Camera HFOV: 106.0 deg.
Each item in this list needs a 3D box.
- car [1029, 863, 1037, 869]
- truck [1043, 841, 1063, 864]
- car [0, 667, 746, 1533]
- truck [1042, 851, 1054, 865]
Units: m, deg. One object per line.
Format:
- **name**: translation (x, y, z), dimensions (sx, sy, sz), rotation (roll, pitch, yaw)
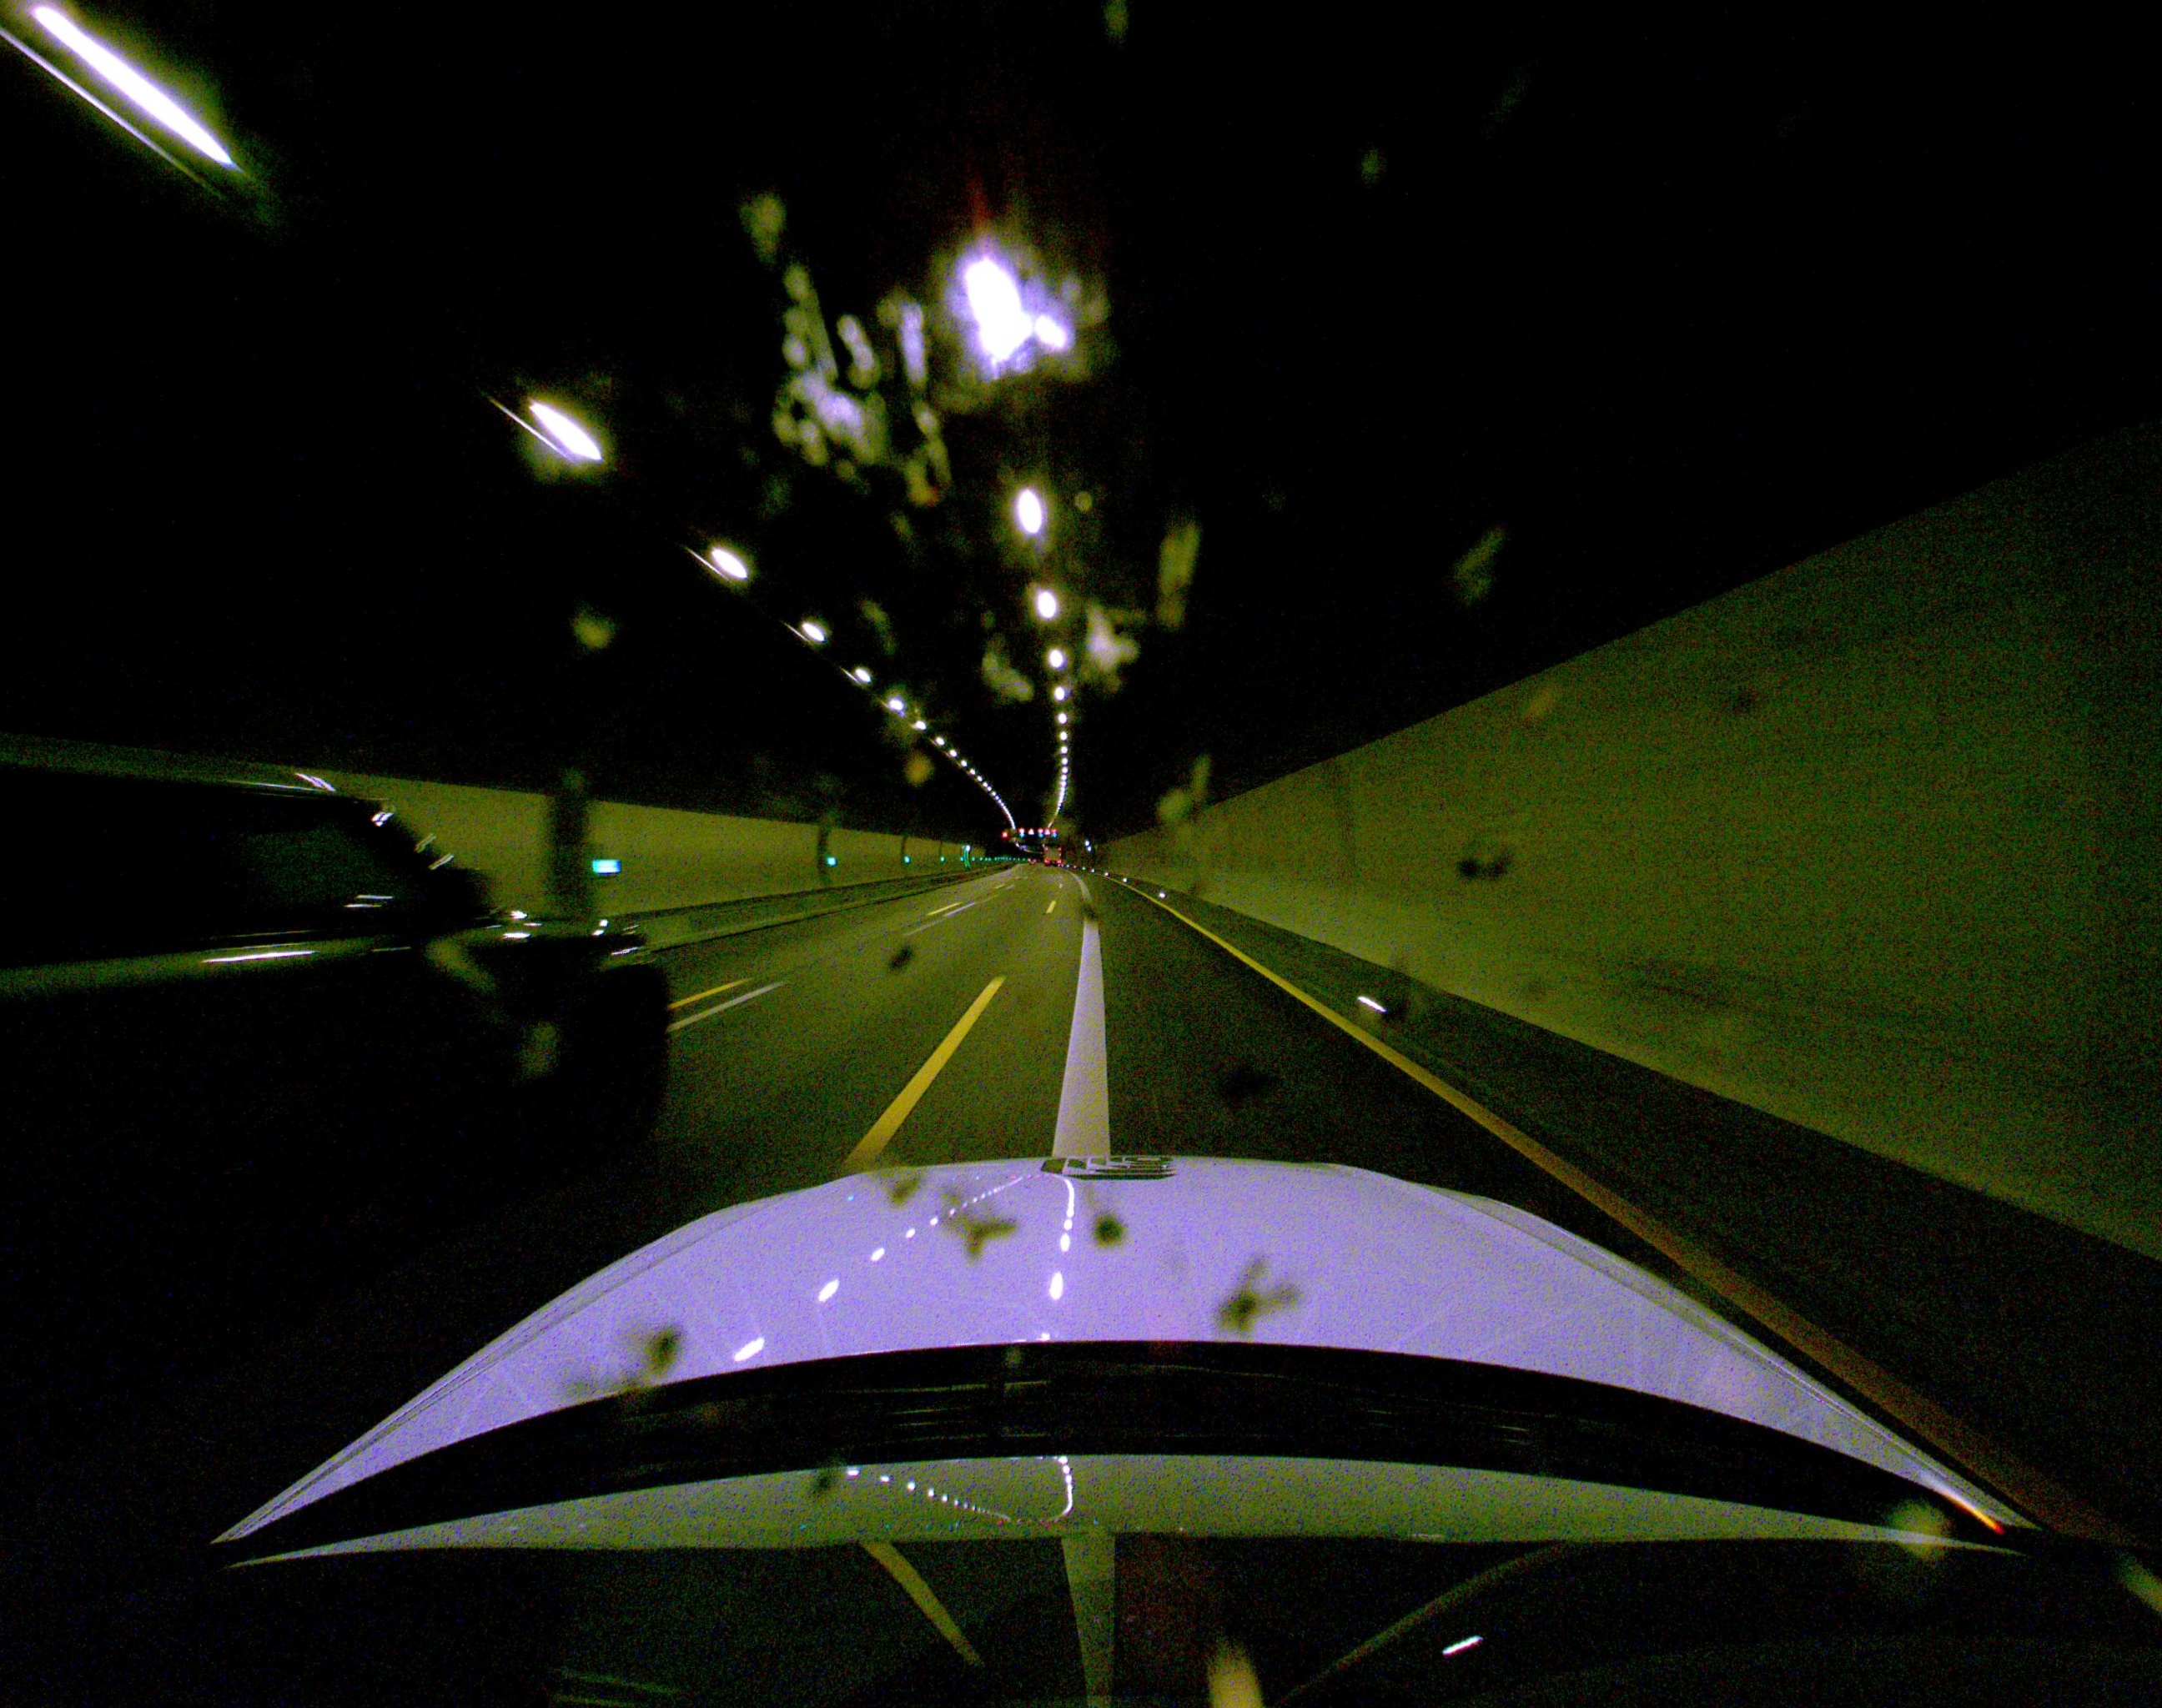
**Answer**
- **car**: translation (-11.801, 2.979, 200.879), dimensions (1.990, 1.582, 3.993), rotation (-1, 0, -5)
- **truck**: translation (-5.595, -0.344, 160.370), dimensions (3.467, 4.316, 10.936), rotation (-1, 0, -4)
- **car**: translation (-3.325, 0.548, 2.673), dimensions (1.986, 1.895, 5.456), rotation (-1, 0, 2)
- **truck**: translation (-10.631, 1.380, 258.730), dimensions (3.467, 4.316, 10.936), rotation (-2, 0, -4)
